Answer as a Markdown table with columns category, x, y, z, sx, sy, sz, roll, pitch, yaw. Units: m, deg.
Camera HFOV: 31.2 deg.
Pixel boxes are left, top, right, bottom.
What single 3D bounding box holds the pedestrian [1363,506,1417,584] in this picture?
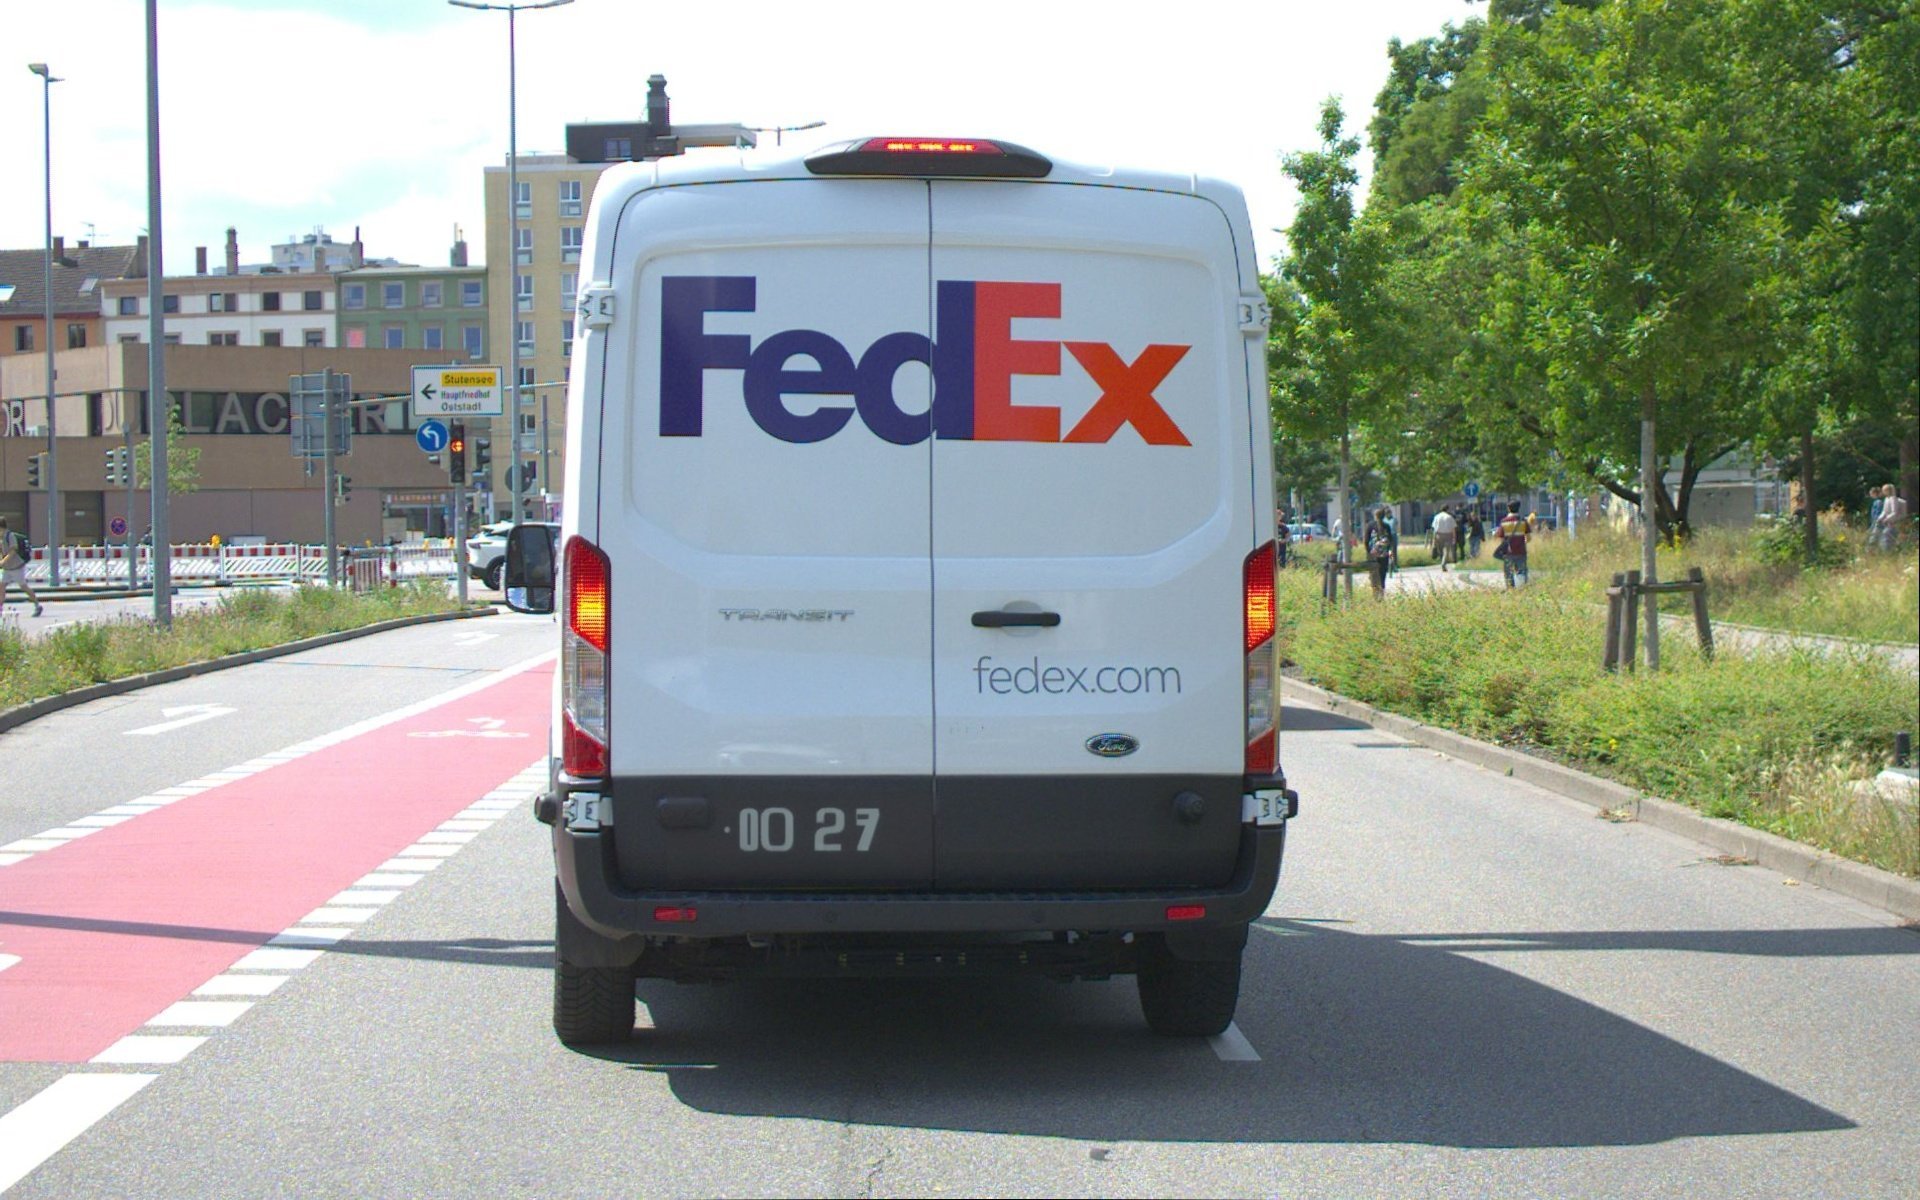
| category | x | y | z | sx | sy | sz | roll | pitch | yaw |
| --- | --- | --- | --- | --- | --- | --- | --- | --- | --- |
| pedestrian | 7.763 | -0.995 | 62.149 | 0.845 | 1.384 | 0.741 | -1 | 1 | -2 |

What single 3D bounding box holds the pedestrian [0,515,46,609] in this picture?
| category | x | y | z | sx | sy | sz | roll | pitch | yaw |
| --- | --- | --- | --- | --- | --- | --- | --- | --- | --- |
| pedestrian | -15.929 | -0.640 | 57.848 | 0.873 | 1.554 | 0.555 | -2 | 2 | -40 |

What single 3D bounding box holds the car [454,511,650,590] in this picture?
| category | x | y | z | sx | sy | sz | roll | pitch | yaw |
| --- | --- | --- | --- | --- | --- | --- | --- | --- | --- |
| car | -9.681 | -1.164 | 81.429 | 4.356 | 1.787 | 2.001 | -1 | 1 | -14 |

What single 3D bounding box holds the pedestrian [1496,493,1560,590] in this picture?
| category | x | y | z | sx | sy | sz | roll | pitch | yaw |
| --- | --- | --- | --- | --- | --- | --- | --- | --- | --- |
| pedestrian | 9.060 | -0.937 | 54.885 | 0.845 | 1.533 | 0.835 | -1 | 1 | -2 |

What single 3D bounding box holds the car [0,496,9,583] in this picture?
| category | x | y | z | sx | sy | sz | roll | pitch | yaw |
| --- | --- | --- | --- | --- | --- | --- | --- | --- | --- |
| car | -24.492 | -1.354 | 79.318 | 4.627 | 2.007 | 2.100 | -1 | 1 | -6 |

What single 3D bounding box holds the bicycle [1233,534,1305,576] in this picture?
| category | x | y | z | sx | sy | sz | roll | pitch | yaw |
| --- | --- | --- | --- | --- | --- | --- | --- | --- | --- |
| bicycle | 7.117 | -1.029 | 79.086 | 1.571 | 0.952 | 0.485 | 0 | 1 | 17 |

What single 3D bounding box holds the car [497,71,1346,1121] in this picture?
| category | x | y | z | sx | sy | sz | roll | pitch | yaw |
| --- | --- | --- | --- | --- | --- | --- | --- | --- | --- |
| car | -0.394 | -0.097 | 11.606 | 2.140 | 2.643 | 5.705 | -1 | 2 | -6 |

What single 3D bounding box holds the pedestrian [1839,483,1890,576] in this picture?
| category | x | y | z | sx | sy | sz | roll | pitch | yaw |
| --- | --- | --- | --- | --- | --- | --- | --- | --- | --- |
| pedestrian | 20.260 | -1.586 | 77.012 | 0.738 | 2.051 | 0.848 | -1 | 1 | -18 |

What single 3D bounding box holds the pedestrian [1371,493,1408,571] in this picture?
| category | x | y | z | sx | sy | sz | roll | pitch | yaw |
| --- | --- | --- | --- | --- | --- | --- | --- | --- | --- |
| pedestrian | 10.399 | -1.652 | 83.204 | 0.679 | 1.886 | 0.574 | 1 | 2 | 42 |

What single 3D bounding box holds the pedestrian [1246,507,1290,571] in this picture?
| category | x | y | z | sx | sy | sz | roll | pitch | yaw |
| --- | --- | --- | --- | --- | --- | --- | --- | --- | --- |
| pedestrian | 7.083 | -1.411 | 79.081 | 0.900 | 1.467 | 0.485 | 0 | 1 | 17 |

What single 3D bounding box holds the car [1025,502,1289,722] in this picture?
| category | x | y | z | sx | sy | sz | roll | pitch | yaw |
| --- | --- | --- | --- | --- | --- | --- | --- | --- | --- |
| car | 1.599 | 0.038 | 29.303 | 1.812 | 1.728 | 4.389 | 0 | 1 | -2 |

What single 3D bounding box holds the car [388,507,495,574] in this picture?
| category | x | y | z | sx | sy | sz | roll | pitch | yaw |
| --- | --- | --- | --- | --- | --- | --- | --- | --- | --- |
| car | -16.126 | -1.856 | 107.101 | 1.994 | 2.007 | 3.998 | -1 | 1 | 12 |

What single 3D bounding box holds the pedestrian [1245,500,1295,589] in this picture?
| category | x | y | z | sx | sy | sz | roll | pitch | yaw |
| --- | --- | --- | --- | --- | --- | --- | --- | --- | --- |
| pedestrian | 6.613 | -1.195 | 73.427 | 0.950 | 1.886 | 0.774 | -1 | 1 | -2 |
